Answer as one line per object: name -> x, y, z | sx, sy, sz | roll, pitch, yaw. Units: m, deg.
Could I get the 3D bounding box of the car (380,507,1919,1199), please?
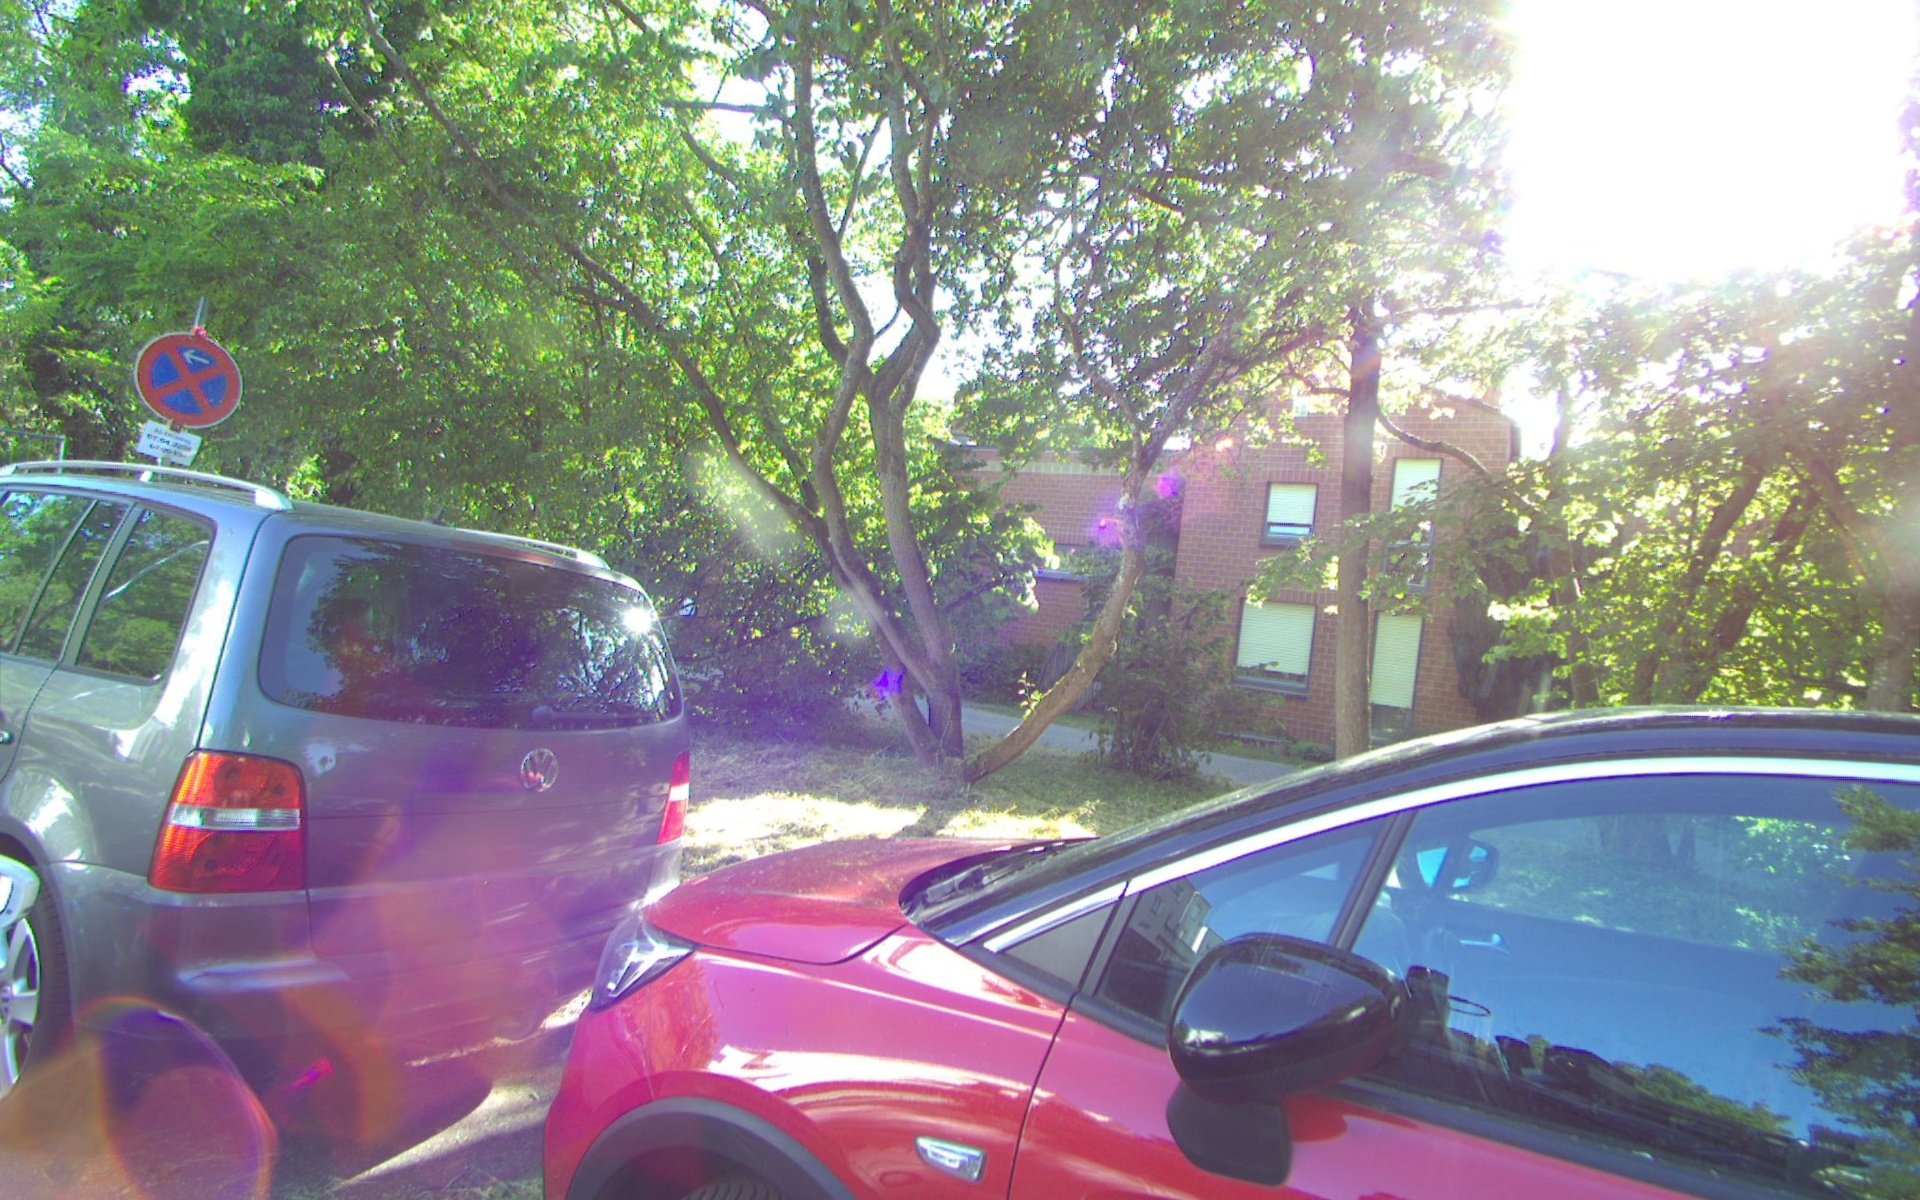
car -> 1.104, 0.909, 1.526 | 3.999, 1.592, 1.682 | 7, -2, 32

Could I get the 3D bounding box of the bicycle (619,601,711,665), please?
bicycle -> -5.964, 0.653, 20.324 | 1.755, 1.052, 0.633 | 7, -1, 30

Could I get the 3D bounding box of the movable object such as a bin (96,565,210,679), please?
movable object such as a bin -> -6.768, 0.189, 8.446 | 0.550, 0.871, 0.485 | 7, -1, 28

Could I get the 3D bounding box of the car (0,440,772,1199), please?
car -> -2.902, 0.408, 3.706 | 4.067, 1.640, 1.683 | 7, -2, 30
